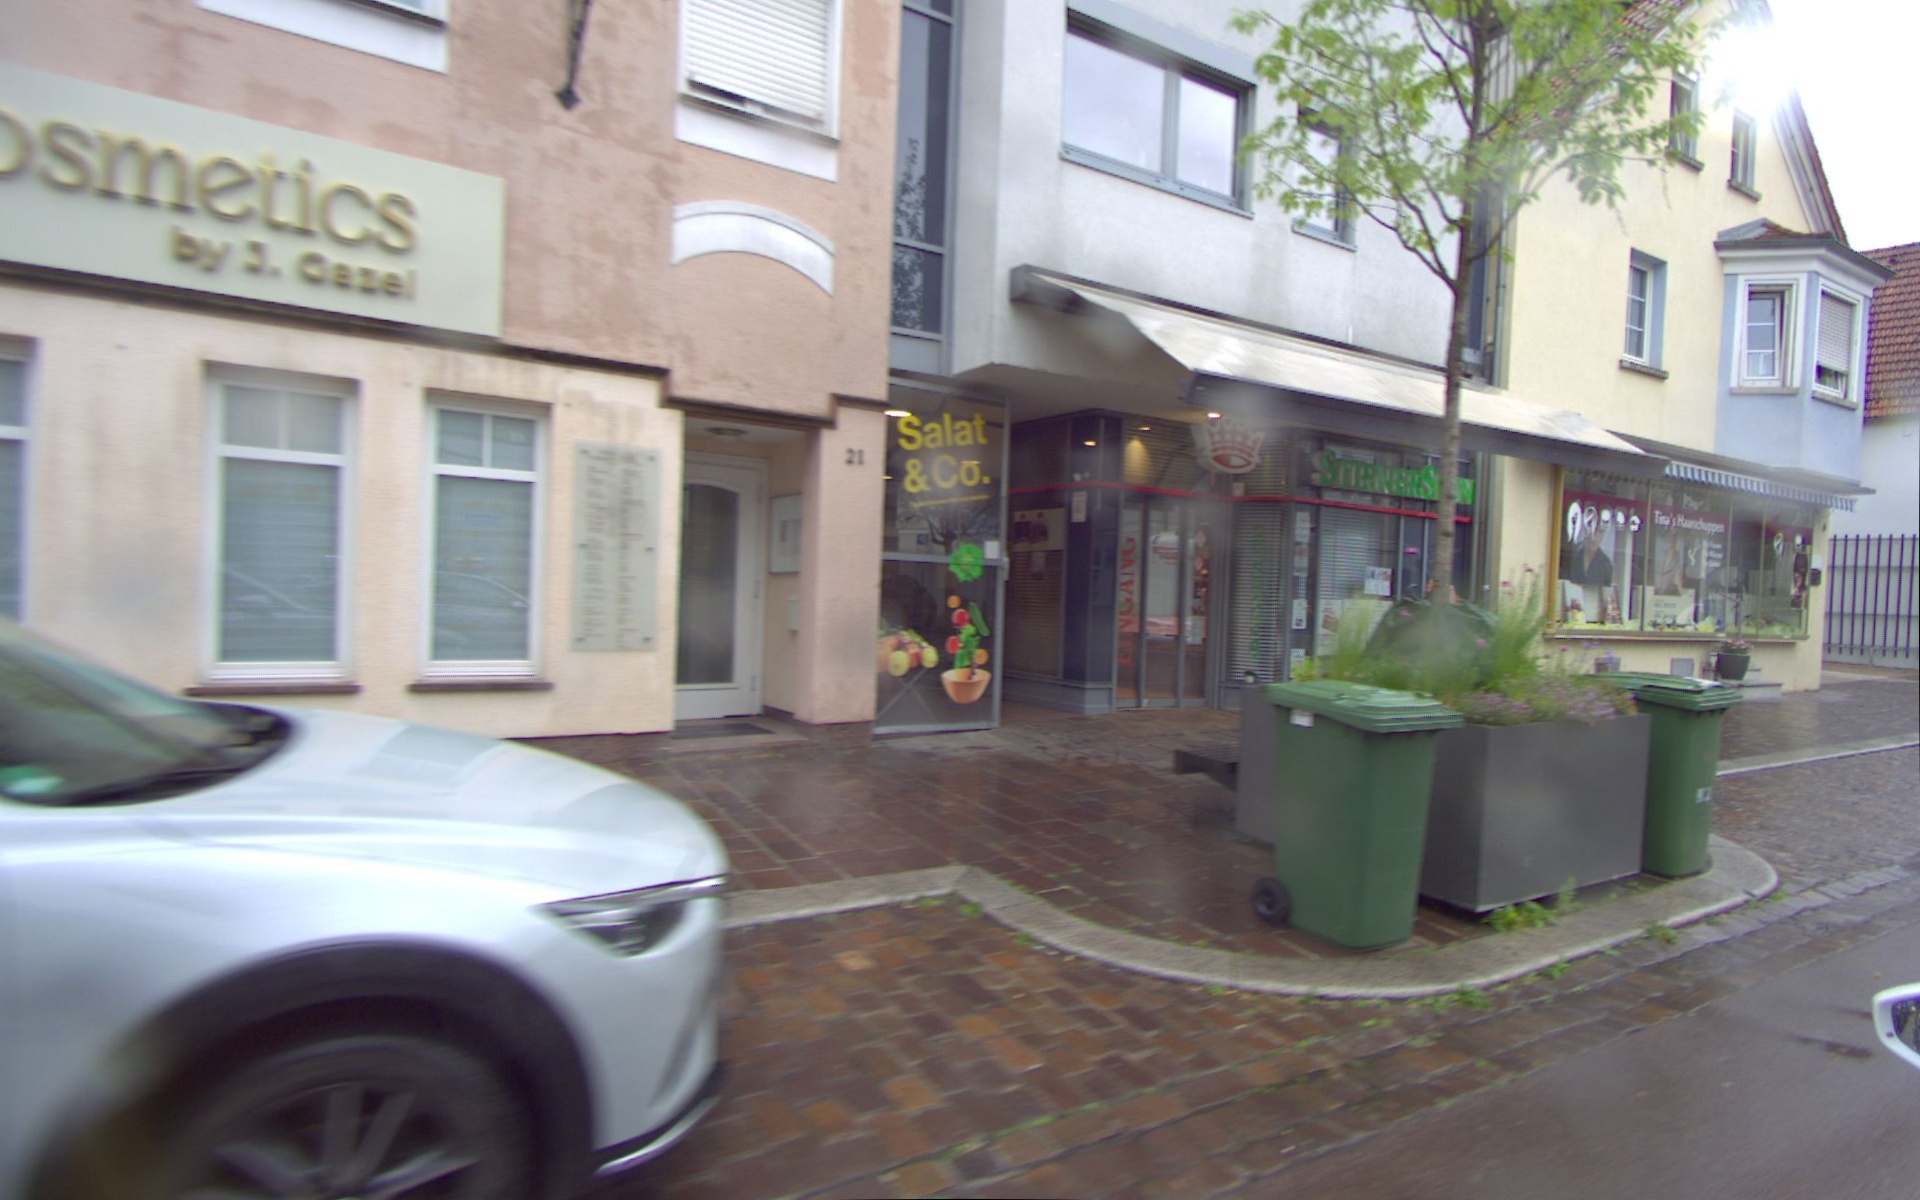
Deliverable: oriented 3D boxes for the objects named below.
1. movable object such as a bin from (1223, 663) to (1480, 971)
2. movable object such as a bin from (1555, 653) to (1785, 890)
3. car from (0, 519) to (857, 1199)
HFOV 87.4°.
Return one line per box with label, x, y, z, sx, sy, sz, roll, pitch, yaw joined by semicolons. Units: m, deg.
movable object such as a bin;1.684;0.868;4.372;0.604;1.121;0.809;2;0;-34
movable object such as a bin;3.950;0.903;5.618;0.604;1.121;0.809;2;4;-34
car;-2.413;0.629;2.105;3.952;1.587;1.819;2;0;-29
